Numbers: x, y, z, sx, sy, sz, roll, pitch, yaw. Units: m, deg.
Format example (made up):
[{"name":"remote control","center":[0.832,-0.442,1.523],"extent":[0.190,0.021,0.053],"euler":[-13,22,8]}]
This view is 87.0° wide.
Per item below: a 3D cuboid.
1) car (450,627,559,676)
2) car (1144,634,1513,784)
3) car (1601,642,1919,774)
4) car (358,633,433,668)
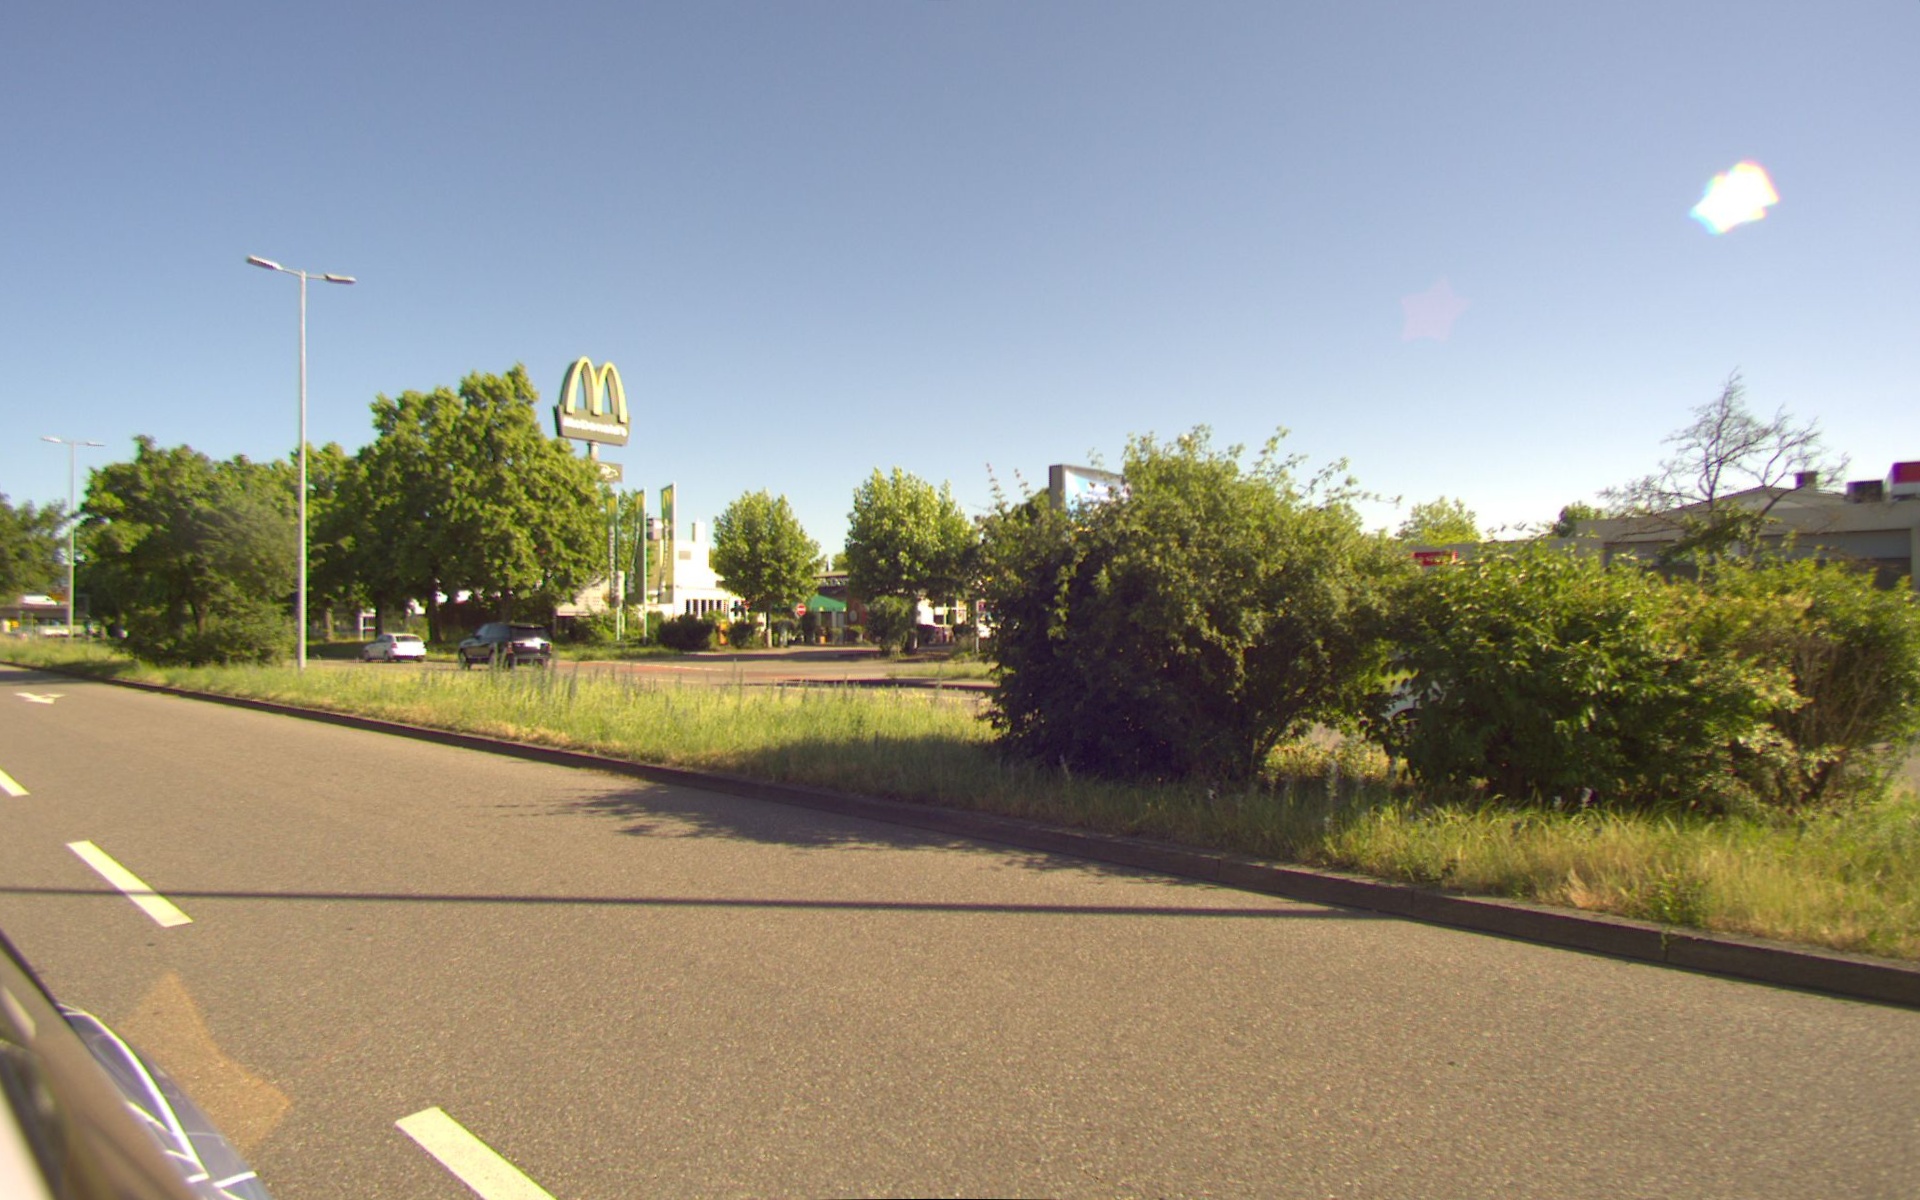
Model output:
[{"name":"car","center":[-17.339,1.893,38.416],"extent":[4.769,1.640,1.973],"euler":[-1,0,41]},{"name":"car","center":[4.153,1.131,11.711],"extent":[3.705,1.364,1.551],"euler":[-1,0,41]},{"name":"car","center":[9.901,1.189,11.740],"extent":[3.998,1.280,1.387],"euler":[-1,0,41]},{"name":"car","center":[-28.053,2.470,50.261],"extent":[4.141,1.562,1.973],"euler":[-1,0,41]}]
